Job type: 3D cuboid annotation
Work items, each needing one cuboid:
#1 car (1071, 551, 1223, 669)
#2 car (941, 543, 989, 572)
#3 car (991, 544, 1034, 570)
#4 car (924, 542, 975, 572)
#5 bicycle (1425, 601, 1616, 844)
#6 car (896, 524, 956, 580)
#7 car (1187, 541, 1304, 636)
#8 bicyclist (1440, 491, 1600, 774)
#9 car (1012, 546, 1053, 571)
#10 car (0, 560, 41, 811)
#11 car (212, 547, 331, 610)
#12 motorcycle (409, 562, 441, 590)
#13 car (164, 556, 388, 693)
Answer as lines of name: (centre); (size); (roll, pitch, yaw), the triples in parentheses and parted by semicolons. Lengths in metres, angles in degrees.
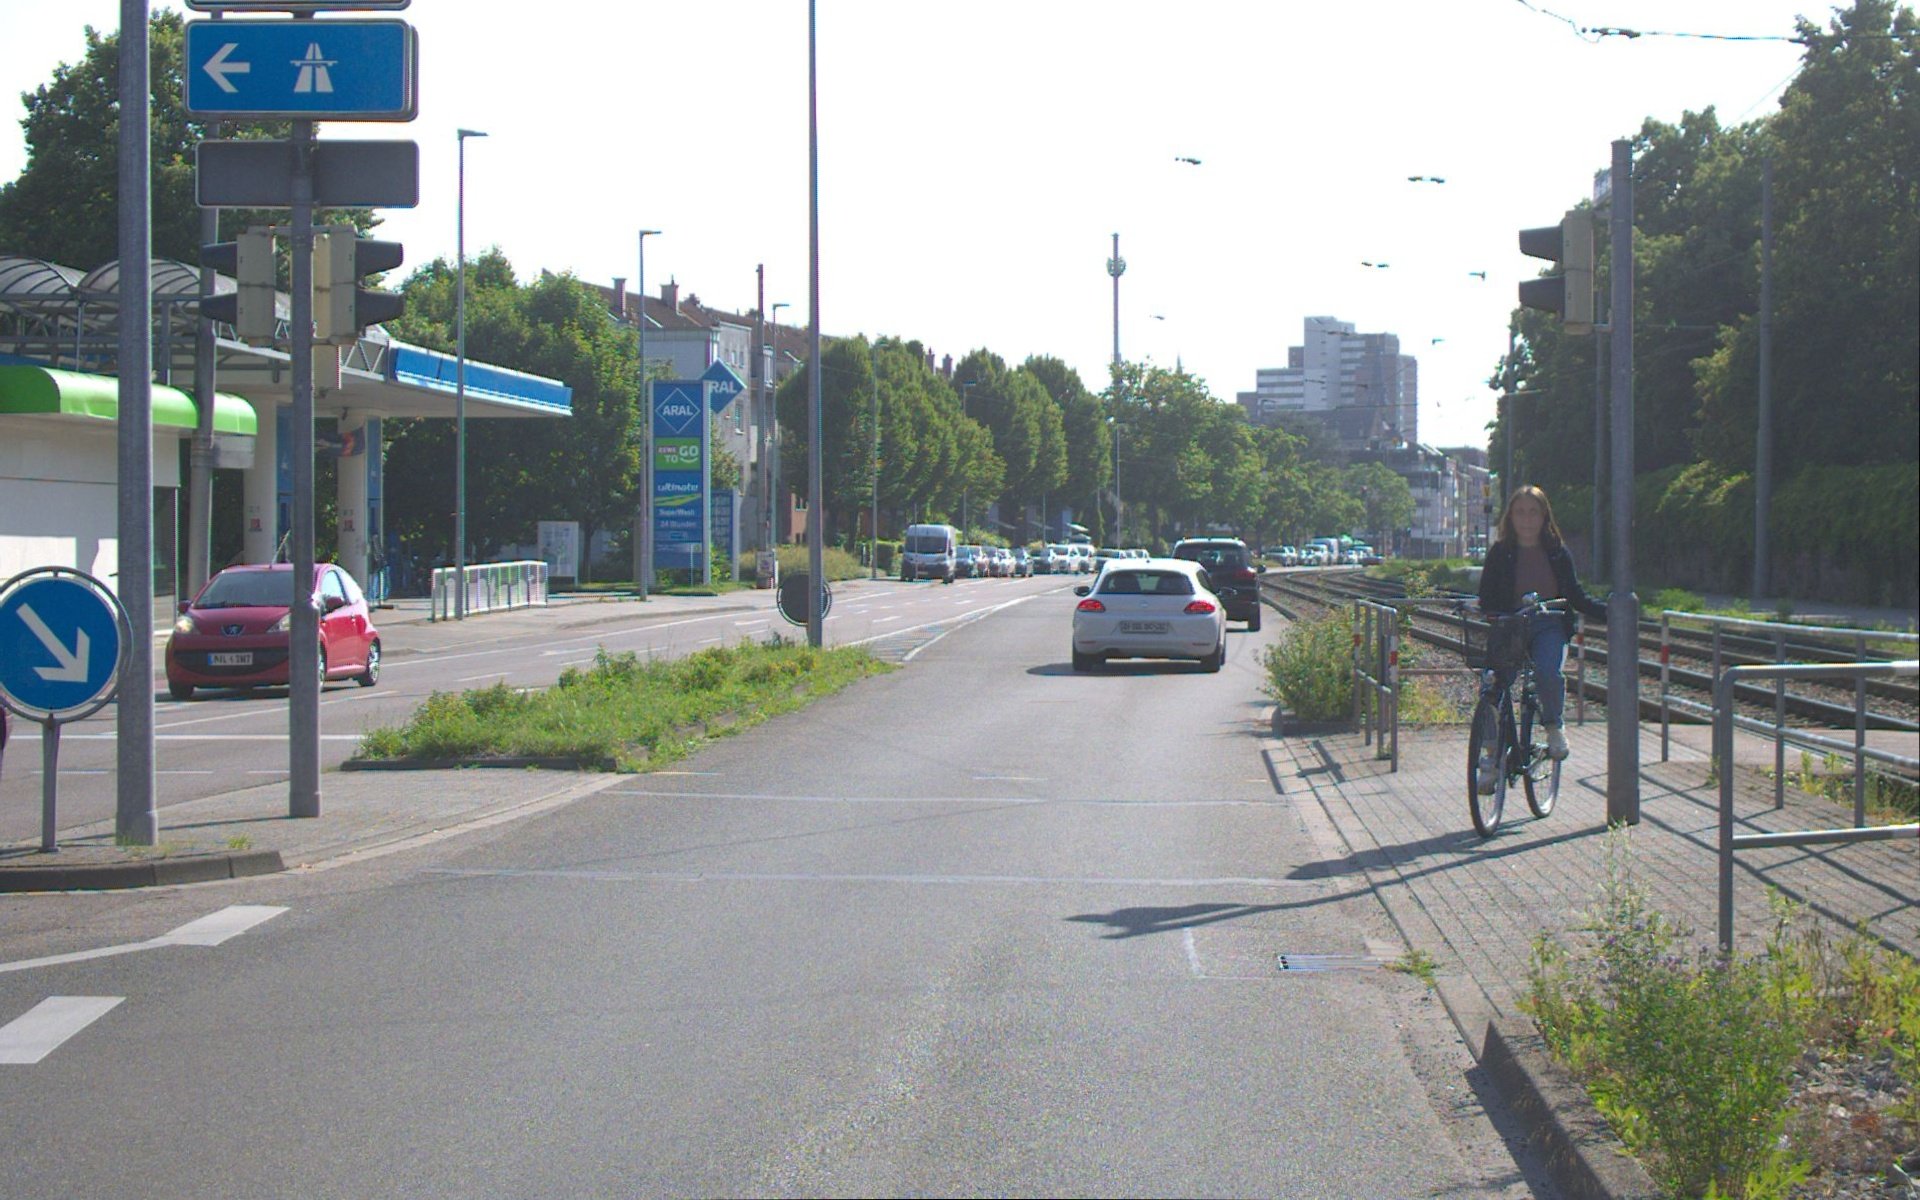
car: (2.353, 0.093, 43.012); (1.781, 1.351, 3.601); (2, 1, 4)
car: (0.265, -2.106, 168.975); (1.994, 1.411, 3.843); (0, 1, 6)
car: (2.848, -2.327, 185.731); (1.994, 1.411, 3.843); (0, 1, 6)
car: (-0.477, -2.052, 163.078); (1.994, 1.411, 3.843); (0, 1, 6)
bicycle: (2.924, 0.600, 17.802); (0.644, 1.150, 1.935); (0, 1, 19)
car: (-1.438, -2.060, 147.703); (1.994, 2.368, 4.537); (0, 1, 7)
car: (5.112, -0.229, 61.939); (1.724, 1.587, 3.601); (2, 1, 0)
bicyclist: (2.896, 0.151, 17.727); (0.644, 1.411, 1.012); (0, 1, 20)
car: (4.174, -2.405, 197.343); (1.994, 1.411, 3.843); (0, 1, 6)
car: (-6.223, 0.500, 17.726); (1.653, 1.390, 4.134); (0, 1, 3)
car: (-15.899, -0.523, 79.537); (1.744, 1.388, 4.120); (0, 1, 3)
motorcycle: (-17.604, -0.799, 113.186); (0.671, 0.898, 1.671); (0, 1, 4)
car: (-7.434, 0.232, 37.632); (1.574, 1.412, 3.333); (0, 1, 4)
